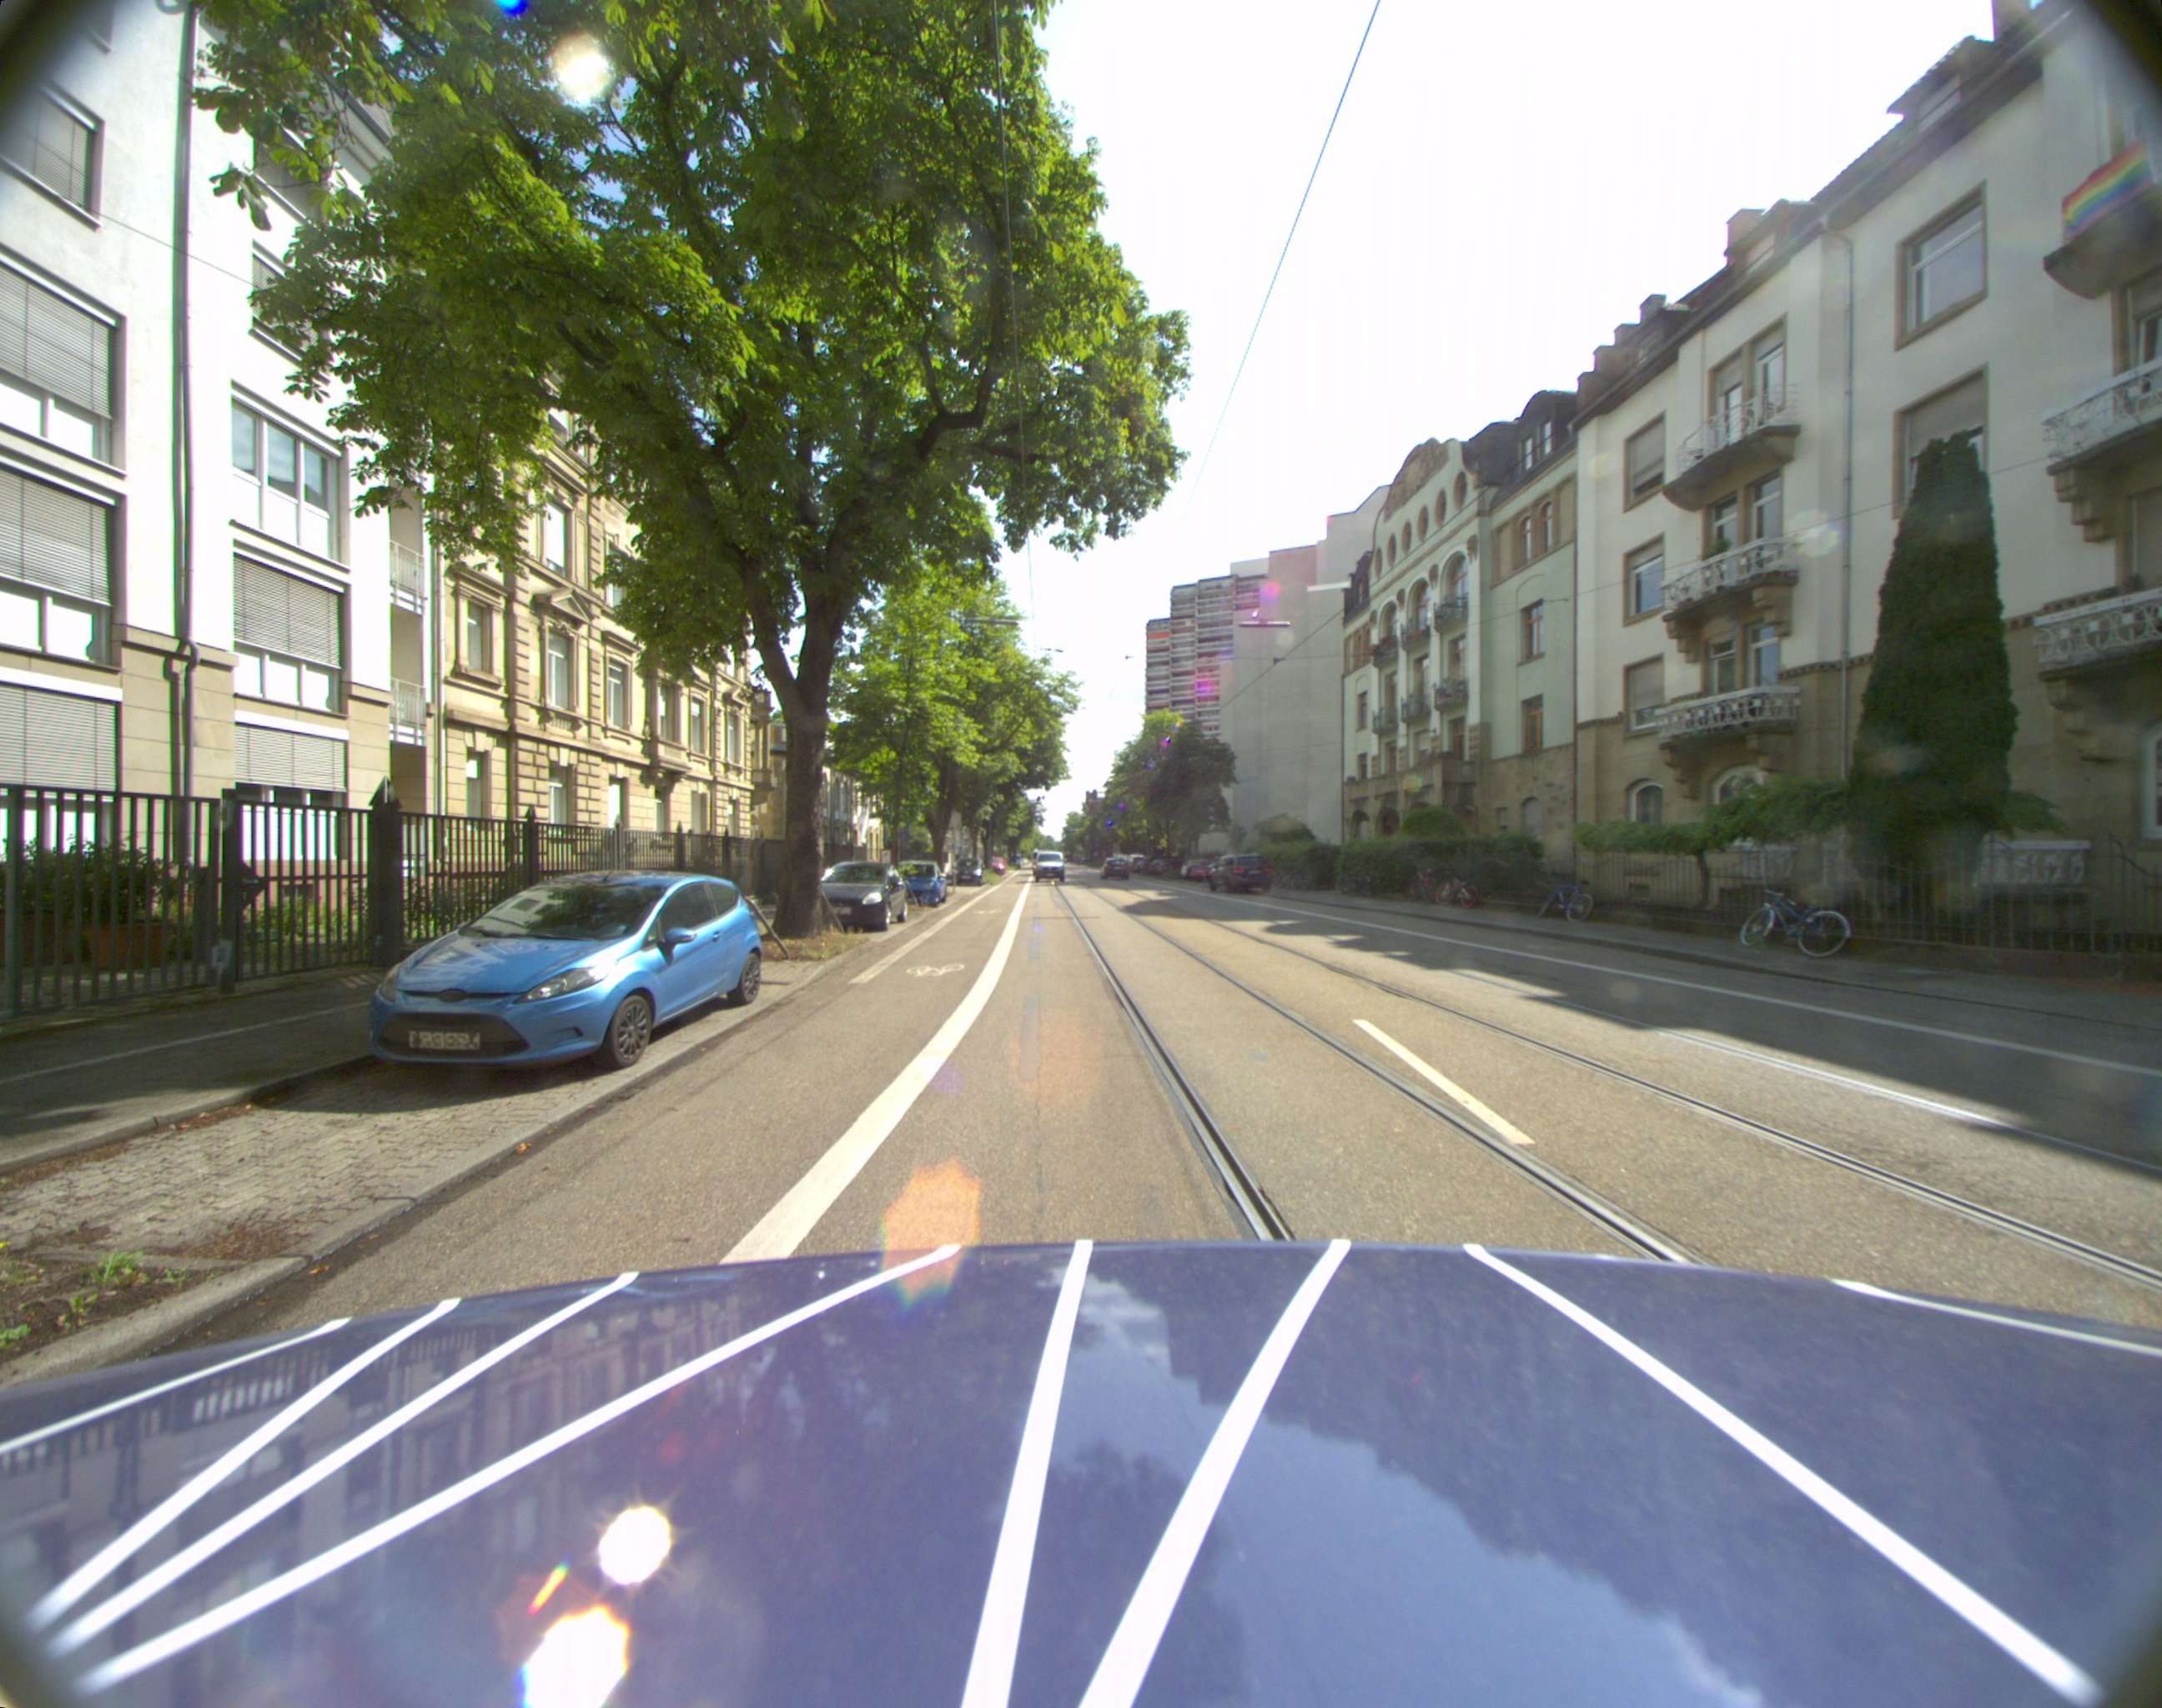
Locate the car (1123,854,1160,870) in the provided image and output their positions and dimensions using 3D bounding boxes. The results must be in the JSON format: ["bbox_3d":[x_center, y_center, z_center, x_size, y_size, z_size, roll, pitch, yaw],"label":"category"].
[{"bbox_3d":[6.706,0.860,84.015,3.994,1.672,2.001,0,0,8],"label":"car"}]

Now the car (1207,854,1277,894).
[{"bbox_3d":[7.203,0.839,34.403,1.922,1.685,4.400,0,0,-5],"label":"car"}]

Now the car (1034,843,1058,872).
[{"bbox_3d":[-3.202,0.300,70.574,2.147,2.568,4.817,0,0,-2],"label":"car"}]

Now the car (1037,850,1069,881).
[{"bbox_3d":[-1.857,0.719,50.376,1.974,1.901,4.817,0,0,-2],"label":"car"}]

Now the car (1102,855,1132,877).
[{"bbox_3d":[2.596,0.842,55.315,1.761,1.509,4.067,0,0,-4],"label":"car"}]

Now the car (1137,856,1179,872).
[{"bbox_3d":[7.393,0.967,72.956,3.994,1.499,2.001,0,0,8],"label":"car"}]

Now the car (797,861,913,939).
[{"bbox_3d":[-4.943,0.944,17.080,1.679,1.467,3.659,3,0,-4],"label":"car"}]

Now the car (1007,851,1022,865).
[{"bbox_3d":[-7.972,0.491,91.496,1.744,1.564,3.928,3,0,-4],"label":"car"}]

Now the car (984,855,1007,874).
[{"bbox_3d":[-7.483,0.883,66.823,1.744,1.564,3.928,3,0,-4],"label":"car"}]

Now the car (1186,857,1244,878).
[{"bbox_3d":[9.429,0.934,53.879,3.994,1.499,2.001,0,0,8],"label":"car"}]

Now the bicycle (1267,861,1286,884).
[{"bbox_3d":[9.917,0.944,38.585,0.468,1.128,1.787,0,0,-1],"label":"bicycle"}]

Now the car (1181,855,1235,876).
[{"bbox_3d":[9.559,0.850,57.427,3.994,1.499,2.001,0,0,8],"label":"car"}]

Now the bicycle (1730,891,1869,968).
[{"bbox_3d":[11.092,1.124,11.828,0.467,0.990,1.979,0,0,7],"label":"bicycle"}]

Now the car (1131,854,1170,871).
[{"bbox_3d":[7.295,0.881,79.590,3.994,1.672,2.001,0,0,8],"label":"car"}]

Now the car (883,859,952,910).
[{"bbox_3d":[-5.364,0.960,25.293,1.679,1.467,3.659,3,0,-4],"label":"car"}]

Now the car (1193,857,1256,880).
[{"bbox_3d":[9.469,0.926,50.371,3.994,1.499,2.001,0,0,8],"label":"car"}]

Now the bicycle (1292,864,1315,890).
[{"bbox_3d":[10.105,1.011,34.547,0.468,1.128,1.787,0,0,-1],"label":"bicycle"}]

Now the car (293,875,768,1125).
[{"bbox_3d":[-4.331,1.011,6.782,1.647,1.467,3.660,3,0,-3],"label":"car"}]

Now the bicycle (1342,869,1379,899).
[{"bbox_3d":[10.068,1.060,27.436,0.605,0.990,1.981,0,0,-1],"label":"bicycle"}]

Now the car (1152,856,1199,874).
[{"bbox_3d":[8.306,0.959,66.629,3.994,1.499,2.001,0,0,8],"label":"car"}]

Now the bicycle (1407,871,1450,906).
[{"bbox_3d":[10.663,1.029,23.350,0.468,0.990,1.787,0,0,-1],"label":"bicycle"}]

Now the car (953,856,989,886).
[{"bbox_3d":[-6.294,0.924,43.869,1.744,1.564,3.659,3,0,-4],"label":"car"}]

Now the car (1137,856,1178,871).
[{"bbox_3d":[7.717,0.964,76.117,3.994,1.499,2.001,0,0,8],"label":"car"}]

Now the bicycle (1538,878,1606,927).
[{"bbox_3d":[10.924,1.049,16.968,0.467,0.990,1.787,0,0,5],"label":"bicycle"}]

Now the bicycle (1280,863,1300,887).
[{"bbox_3d":[10.020,0.990,36.489,0.468,1.128,1.787,0,0,-1],"label":"bicycle"}]

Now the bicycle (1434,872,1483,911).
[{"bbox_3d":[10.627,1.036,21.452,0.468,0.990,1.787,0,0,-1],"label":"bicycle"}]

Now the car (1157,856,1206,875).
[{"bbox_3d":[8.408,0.947,63.474,3.994,1.499,2.001,0,0,8],"label":"car"}]

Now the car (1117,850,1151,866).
[{"bbox_3d":[6.278,0.518,89.849,1.994,1.740,4.008,-1,1,41],"label":"car"}]

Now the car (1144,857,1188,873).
[{"bbox_3d":[7.803,0.995,69.748,3.994,1.499,2.001,0,0,8],"label":"car"}]
